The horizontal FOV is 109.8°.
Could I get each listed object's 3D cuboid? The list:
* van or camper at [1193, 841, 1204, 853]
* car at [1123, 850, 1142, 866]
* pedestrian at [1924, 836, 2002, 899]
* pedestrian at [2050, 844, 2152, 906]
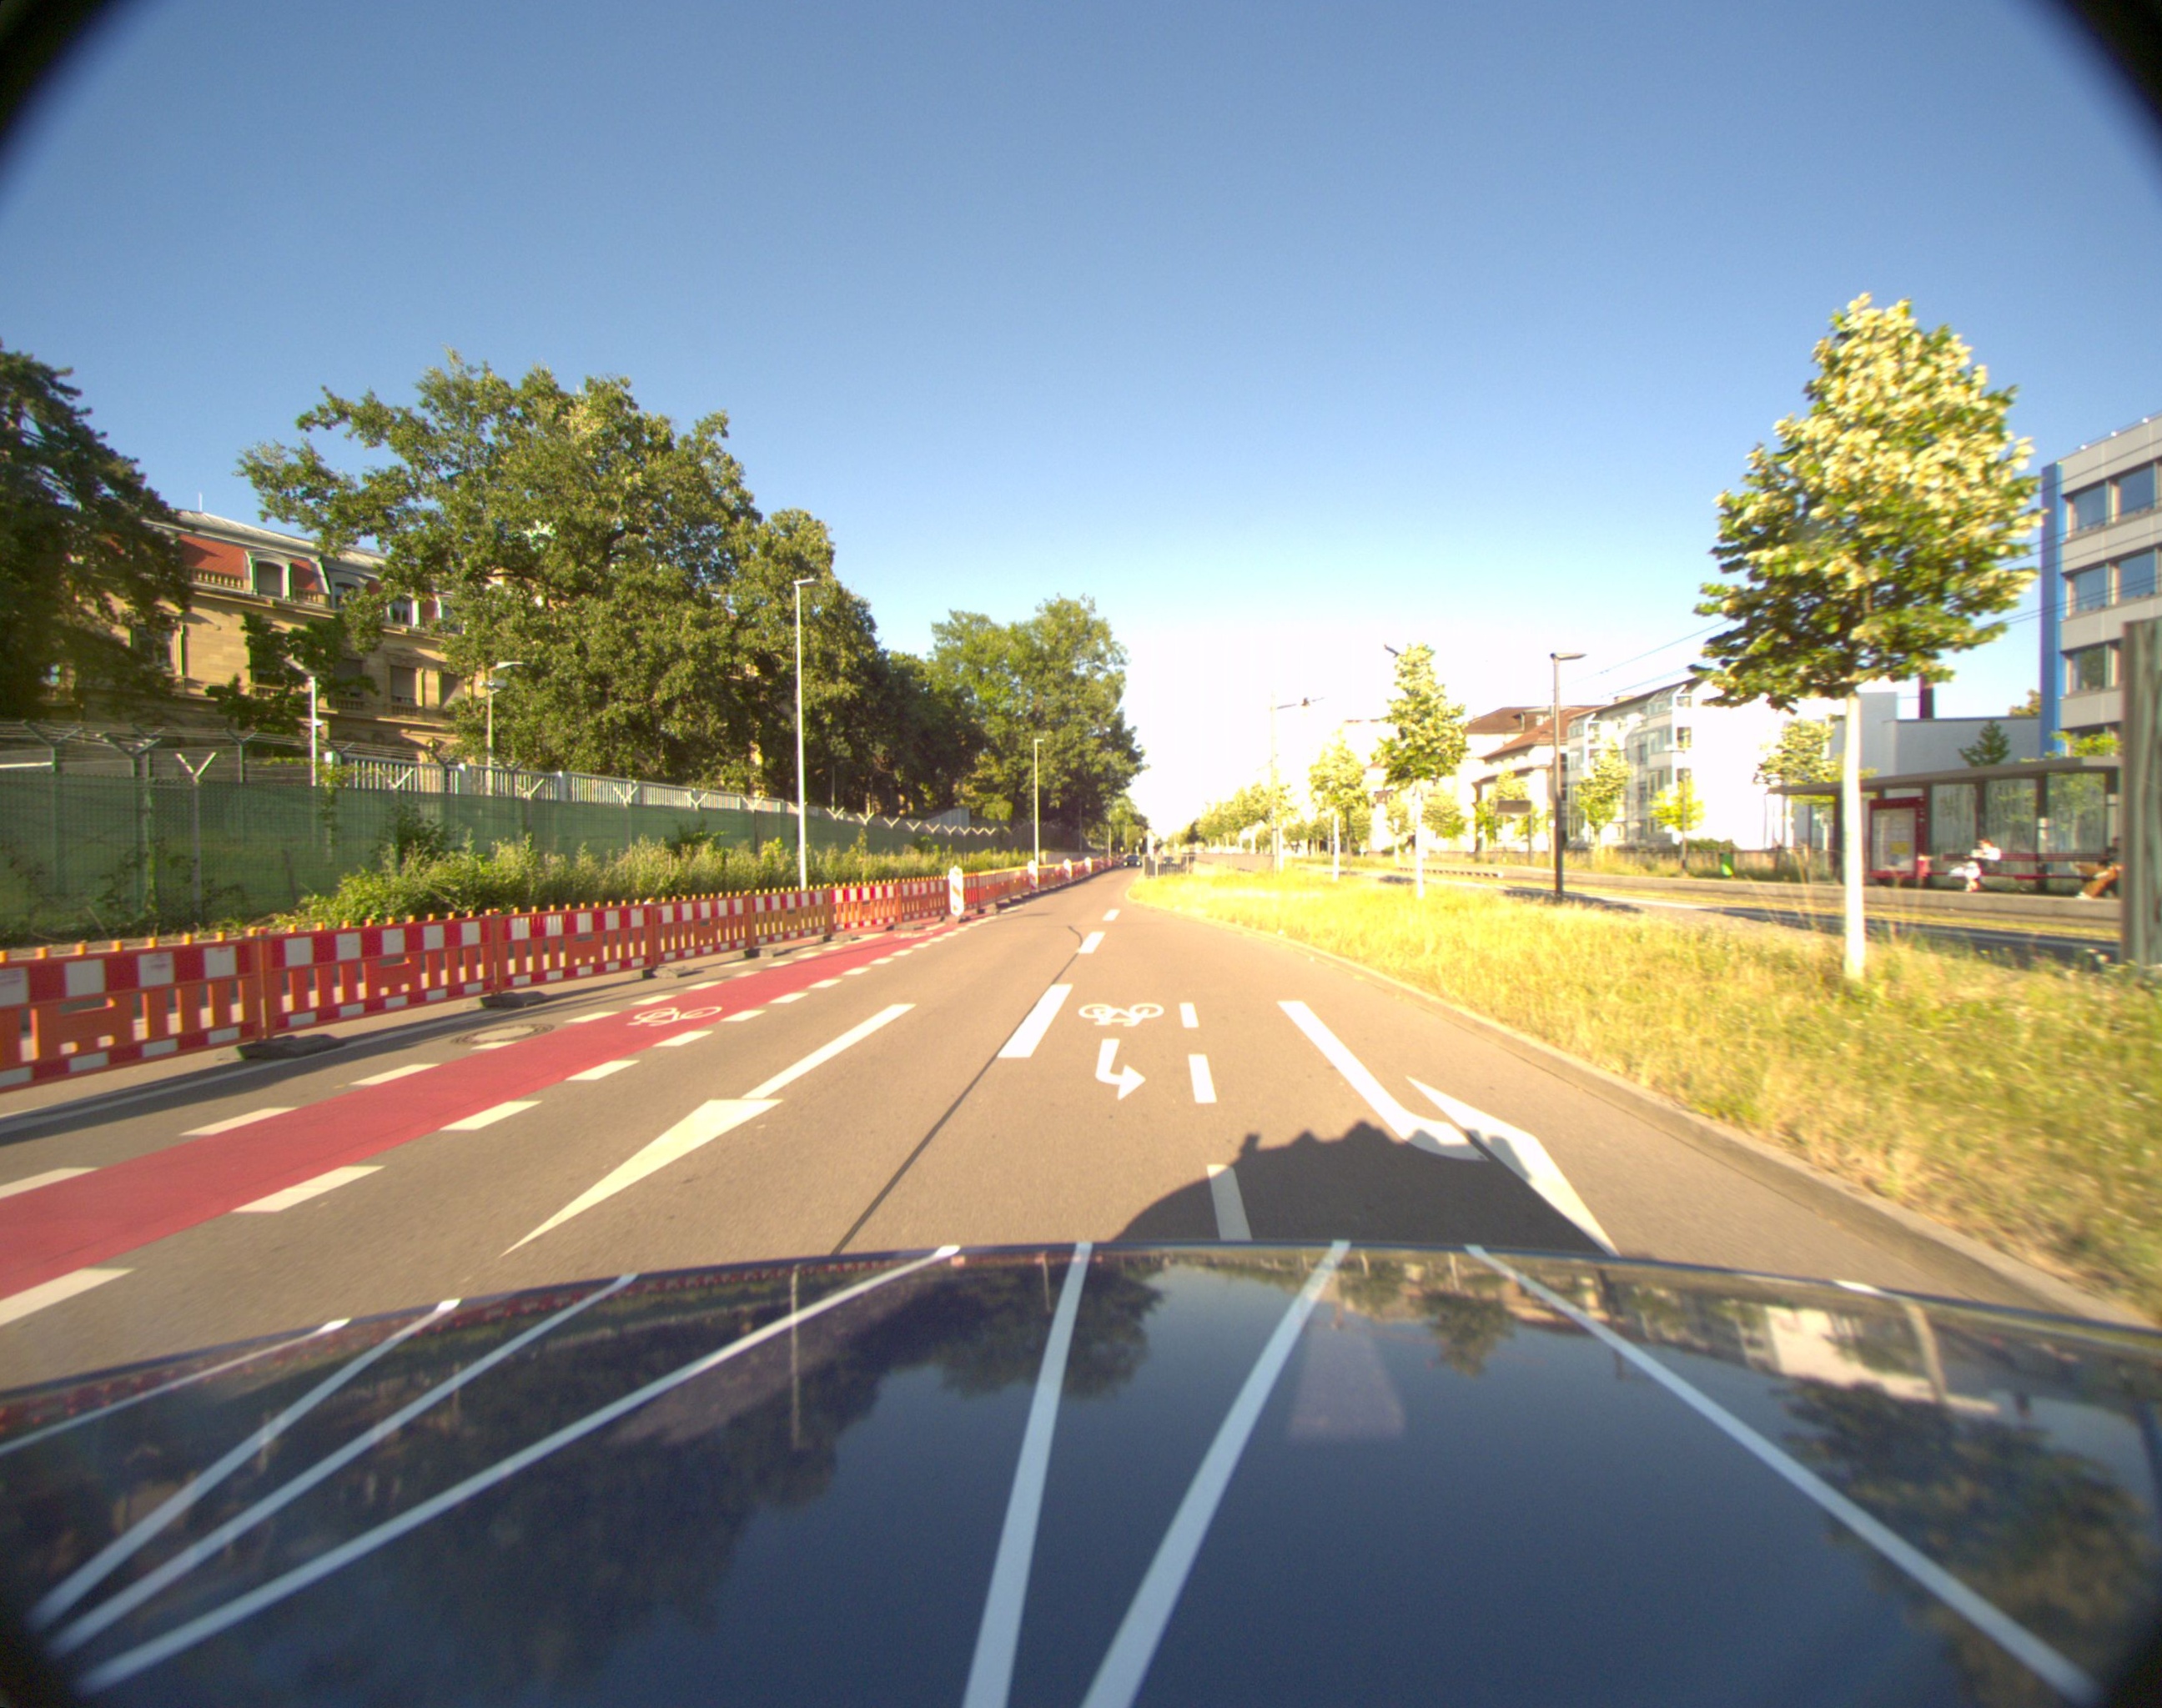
[{"bbox_3d":[29.780,-1.785,192.719,2.509,3.149,7.480,-1,0,9],"label":"van or camper"},{"bbox_3d":[6.318,0.440,93.049,2.079,1.827,4.001,0,1,6],"label":"car"},{"bbox_3d":[20.281,0.306,17.484,0.840,1.402,0.804,0,1,5],"label":"pedestrian"},{"bbox_3d":[20.006,0.401,14.926,0.936,1.190,0.764,0,1,5],"label":"pedestrian"}]
